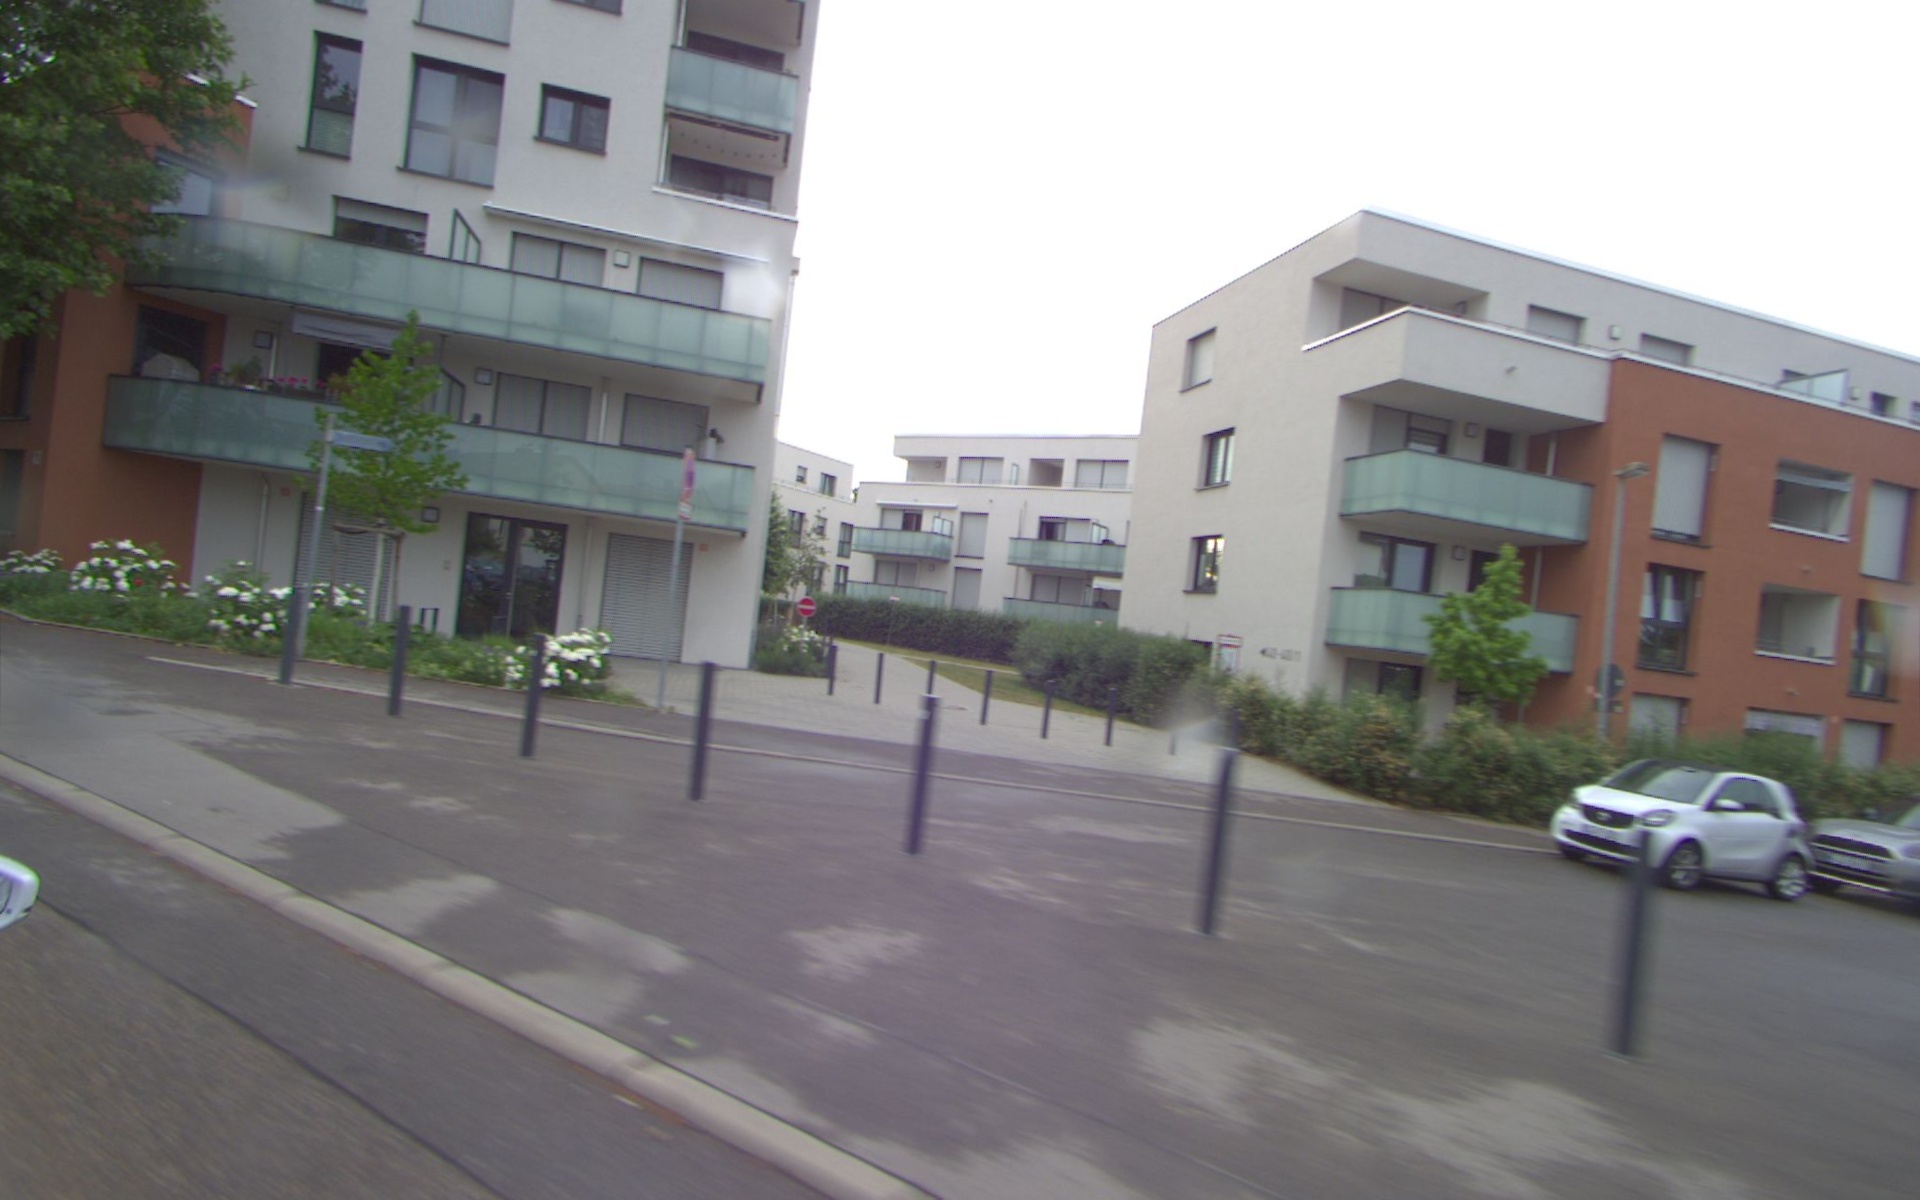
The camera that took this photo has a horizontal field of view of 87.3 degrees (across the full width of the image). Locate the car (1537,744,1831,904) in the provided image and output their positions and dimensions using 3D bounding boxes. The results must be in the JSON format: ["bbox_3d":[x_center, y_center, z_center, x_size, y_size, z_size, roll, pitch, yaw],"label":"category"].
[{"bbox_3d":[9.457,2.913,13.229,2.703,1.489,1.722,9,-1,-17],"label":"car"}]

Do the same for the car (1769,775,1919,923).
[{"bbox_3d":[14.023,3.624,14.269,4.065,1.560,1.847,9,-1,-15],"label":"car"}]
